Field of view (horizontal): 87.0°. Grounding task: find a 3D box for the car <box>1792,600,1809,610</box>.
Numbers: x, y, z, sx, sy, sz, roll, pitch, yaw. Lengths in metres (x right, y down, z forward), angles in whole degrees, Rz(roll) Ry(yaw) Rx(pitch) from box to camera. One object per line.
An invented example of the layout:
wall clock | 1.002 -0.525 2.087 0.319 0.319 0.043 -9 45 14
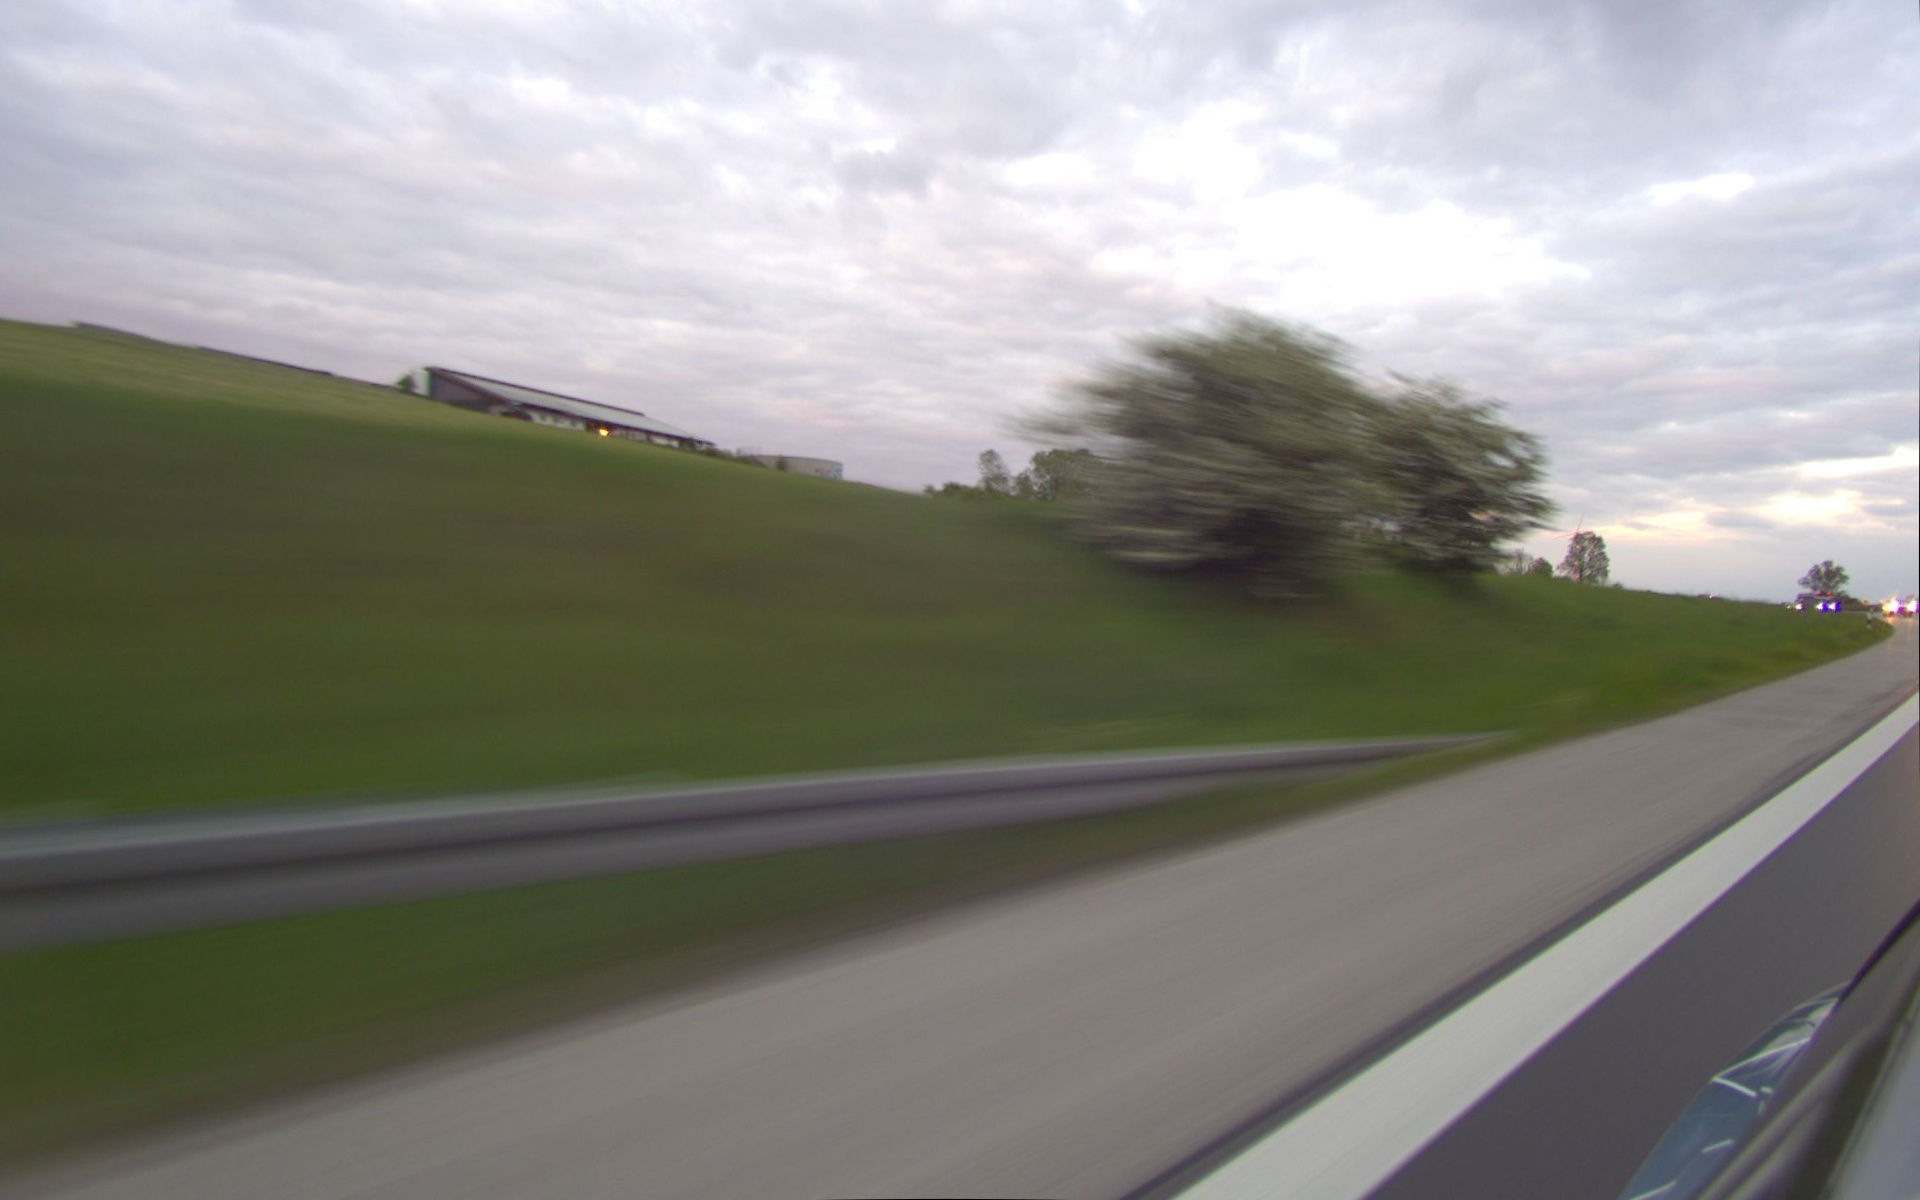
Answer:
car | 148.477 0.799 178.847 1.790 1.665 4.047 1 1 32

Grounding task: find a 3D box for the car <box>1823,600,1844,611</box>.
car | 136.928 0.852 158.682 1.789 1.665 4.048 1 1 31

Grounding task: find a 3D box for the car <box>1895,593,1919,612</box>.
car | 97.048 0.294 103.474 1.912 1.860 3.942 3 2 40
